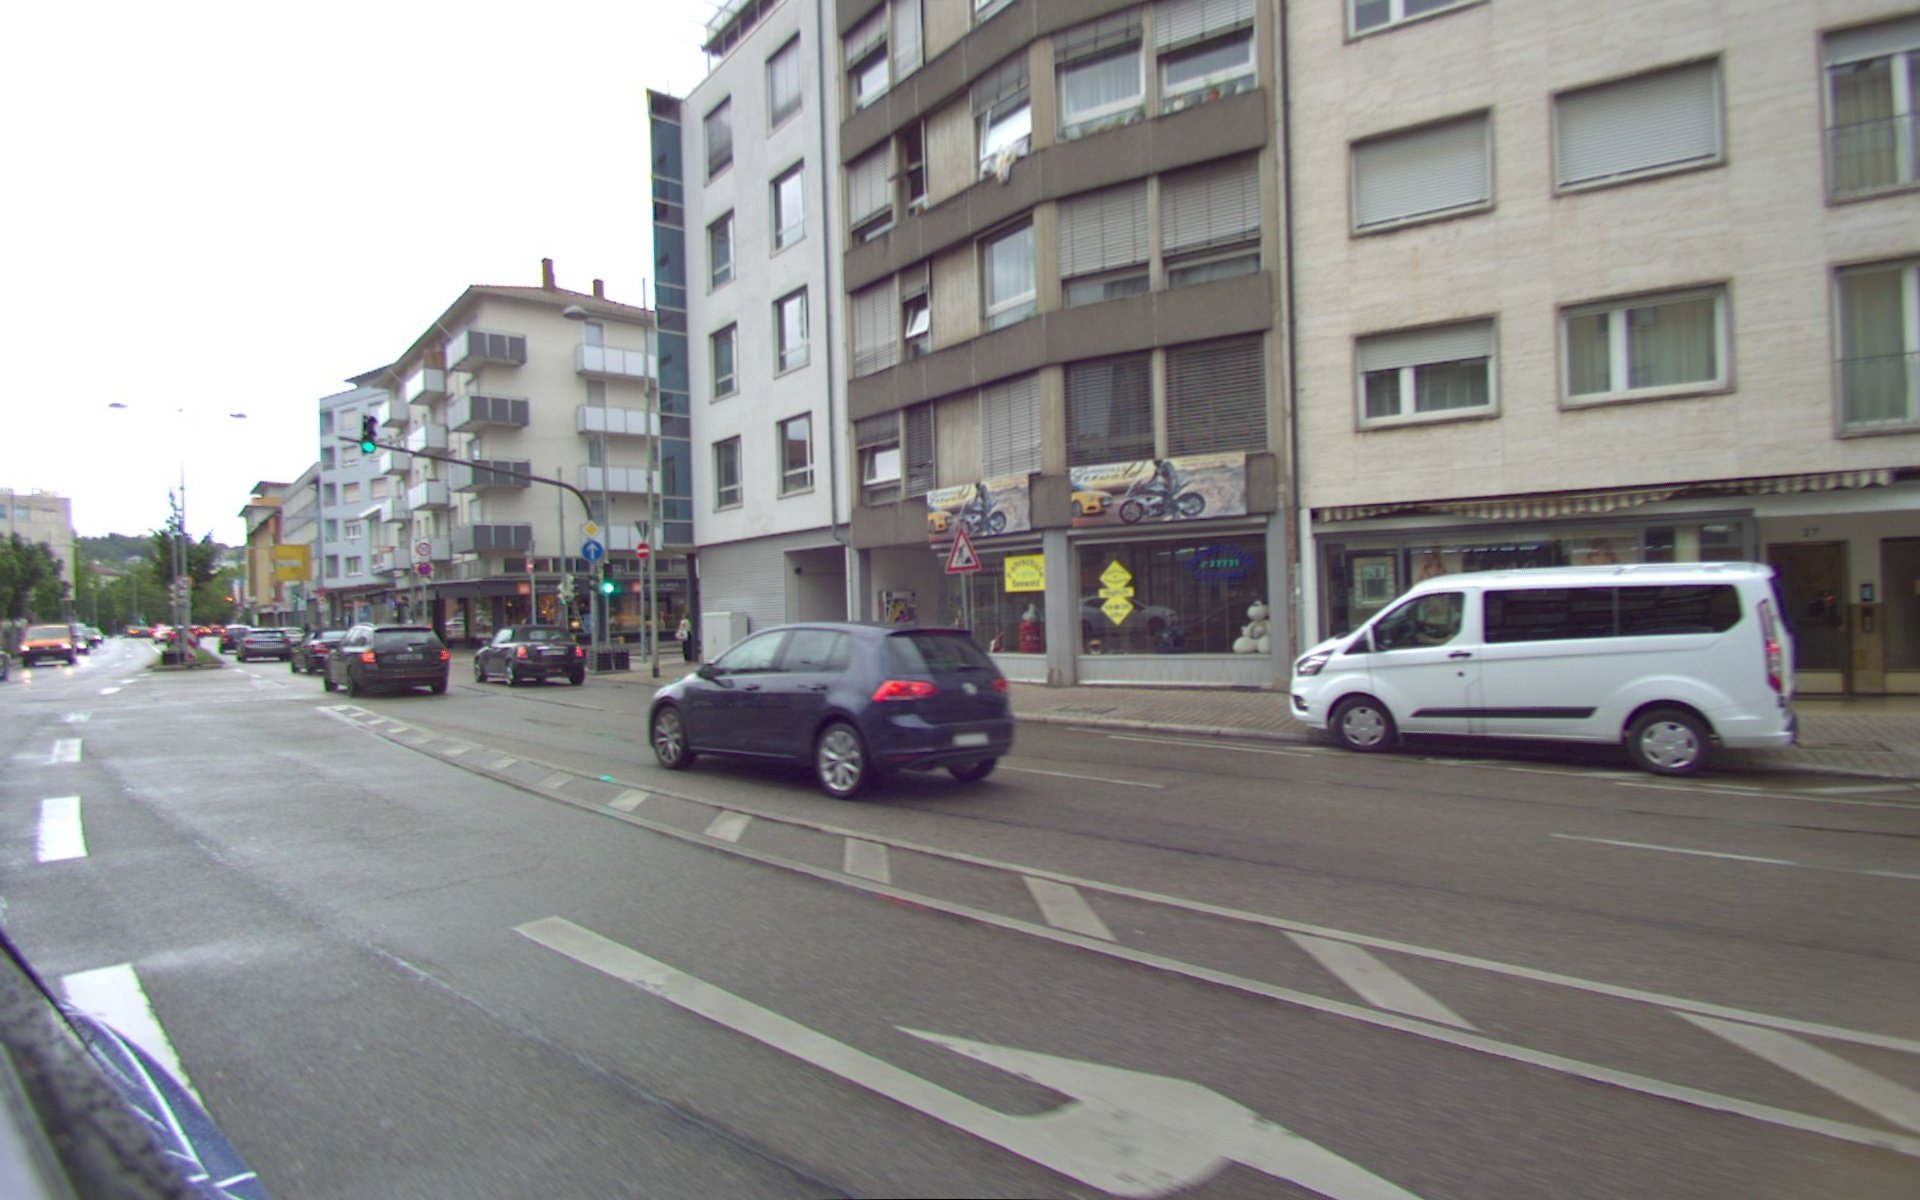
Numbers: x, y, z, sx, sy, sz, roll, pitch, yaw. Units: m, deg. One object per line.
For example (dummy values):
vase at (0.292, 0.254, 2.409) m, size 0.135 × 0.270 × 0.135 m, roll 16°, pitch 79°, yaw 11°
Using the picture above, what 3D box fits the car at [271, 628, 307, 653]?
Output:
car at (-43.004, 2.593, 64.814) m, size 1.749 × 1.535 × 4.293 m, roll 0°, pitch -2°, yaw -36°

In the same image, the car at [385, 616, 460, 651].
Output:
car at (-34.133, 2.104, 64.264) m, size 3.935 × 2.070 × 1.899 m, roll -1°, pitch -1°, yaw -38°

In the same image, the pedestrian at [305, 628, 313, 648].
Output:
pedestrian at (-54.830, 3.183, 85.231) m, size 0.505 × 1.701 × 0.532 m, roll 1°, pitch -1°, yaw -39°

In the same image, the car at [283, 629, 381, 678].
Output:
car at (-19.210, 1.574, 30.865) m, size 1.802 × 1.376 × 4.610 m, roll 1°, pitch -2°, yaw -41°

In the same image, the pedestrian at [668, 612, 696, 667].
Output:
pedestrian at (-8.342, 1.184, 30.363) m, size 0.617 × 1.620 × 0.832 m, roll -1°, pitch -2°, yaw -2°

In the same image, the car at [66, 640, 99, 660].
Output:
car at (-71.782, 4.063, 82.812) m, size 1.786 × 1.352 × 4.008 m, roll -3°, pitch 1°, yaw -39°

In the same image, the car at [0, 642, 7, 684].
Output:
car at (-30.821, 1.963, 31.015) m, size 1.783 × 1.349 × 4.288 m, roll 0°, pitch -3°, yaw -35°

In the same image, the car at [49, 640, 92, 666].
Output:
car at (-57.416, 3.406, 65.398) m, size 1.815 × 1.453 × 4.008 m, roll -3°, pitch 1°, yaw -38°

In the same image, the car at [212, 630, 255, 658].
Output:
car at (-42.089, 2.544, 58.595) m, size 1.806 × 1.555 × 4.291 m, roll 0°, pitch -2°, yaw -39°

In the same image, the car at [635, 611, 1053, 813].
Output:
car at (-1.229, 0.906, 9.453) m, size 3.999 × 1.484 × 1.665 m, roll -2°, pitch -3°, yaw 42°

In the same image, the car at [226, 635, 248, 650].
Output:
car at (-75.585, 4.458, 105.788) m, size 1.749 × 1.601 × 4.034 m, roll 2°, pitch -3°, yaw -38°

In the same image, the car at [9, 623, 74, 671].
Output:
car at (-45.091, 2.251, 49.771) m, size 2.166 × 2.101 × 5.942 m, roll -2°, pitch 0°, yaw -41°

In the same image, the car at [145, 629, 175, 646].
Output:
car at (-71.799, 3.369, 90.812) m, size 1.822 × 1.428 × 4.621 m, roll 3°, pitch -4°, yaw -42°

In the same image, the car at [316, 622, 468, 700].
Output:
car at (-12.109, 1.229, 21.441) m, size 1.959 × 1.470 × 4.492 m, roll 2°, pitch -3°, yaw -41°

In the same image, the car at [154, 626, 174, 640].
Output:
car at (-94.507, 3.894, 120.111) m, size 1.750 × 1.656 × 3.847 m, roll 2°, pitch -3°, yaw -39°

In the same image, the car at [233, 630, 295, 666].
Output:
car at (-30.627, 2.059, 44.481) m, size 1.829 × 1.485 × 4.656 m, roll 1°, pitch -2°, yaw -39°

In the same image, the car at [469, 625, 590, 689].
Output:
car at (-10.382, 1.333, 24.311) m, size 1.700 × 1.410 × 3.600 m, roll 2°, pitch -3°, yaw -40°

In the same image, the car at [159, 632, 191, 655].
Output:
car at (-58.396, 3.227, 75.251) m, size 1.823 × 1.606 × 4.099 m, roll 0°, pitch -2°, yaw -38°

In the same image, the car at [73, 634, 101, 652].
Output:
car at (-89.163, 4.408, 103.380) m, size 1.968 × 1.620 × 4.008 m, roll -3°, pitch 1°, yaw -38°

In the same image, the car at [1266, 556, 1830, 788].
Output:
car at (6.341, 0.608, 11.399) m, size 5.121 × 2.029 × 2.099 m, roll 0°, pitch 3°, yaw 38°

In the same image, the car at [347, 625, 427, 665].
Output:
car at (-22.628, 1.771, 39.880) m, size 1.904 × 1.485 × 4.610 m, roll 3°, pitch -3°, yaw -40°
